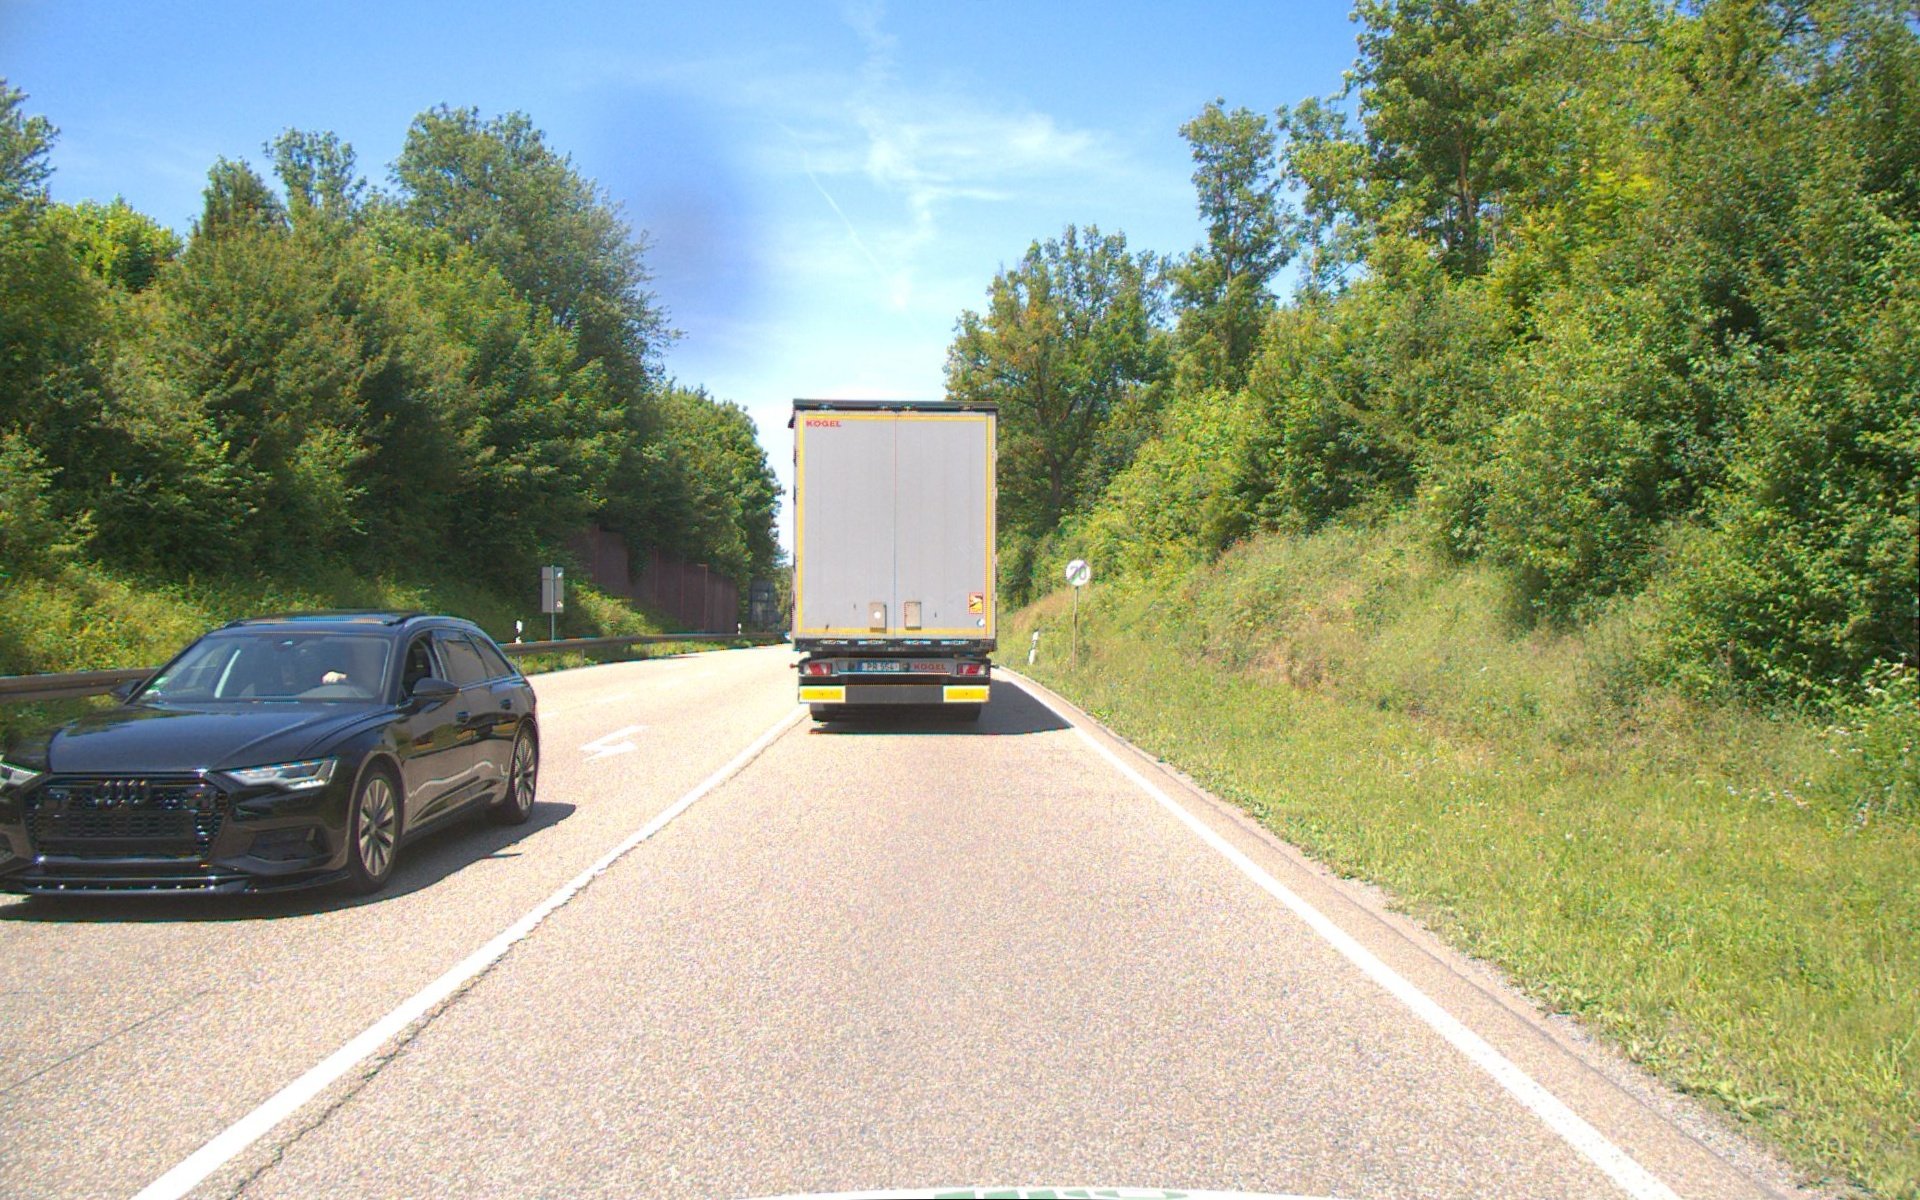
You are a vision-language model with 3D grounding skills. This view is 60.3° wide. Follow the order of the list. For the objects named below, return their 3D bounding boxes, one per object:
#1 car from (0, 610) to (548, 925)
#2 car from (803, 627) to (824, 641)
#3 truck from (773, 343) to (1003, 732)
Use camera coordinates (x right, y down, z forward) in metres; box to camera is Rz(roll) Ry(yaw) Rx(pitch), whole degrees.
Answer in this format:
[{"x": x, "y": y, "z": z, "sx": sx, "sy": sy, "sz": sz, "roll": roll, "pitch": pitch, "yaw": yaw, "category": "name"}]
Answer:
[{"x": -3.921, "y": 0.806, "z": 9.991, "sx": 1.767, "sy": 1.479, "sz": 4.386, "roll": 0, "pitch": 0, "yaw": 0, "category": "car"}, {"x": -15.677, "y": 3.626, "z": 177.076, "sx": 1.774, "sy": 1.460, "sz": 3.859, "roll": 0, "pitch": -1, "yaw": -12, "category": "car"}, {"x": -0.977, "y": -0.751, "z": 23.307, "sx": 2.766, "sy": 4.684, "sz": 6.662, "roll": 0, "pitch": 0, "yaw": -2, "category": "truck"}]
